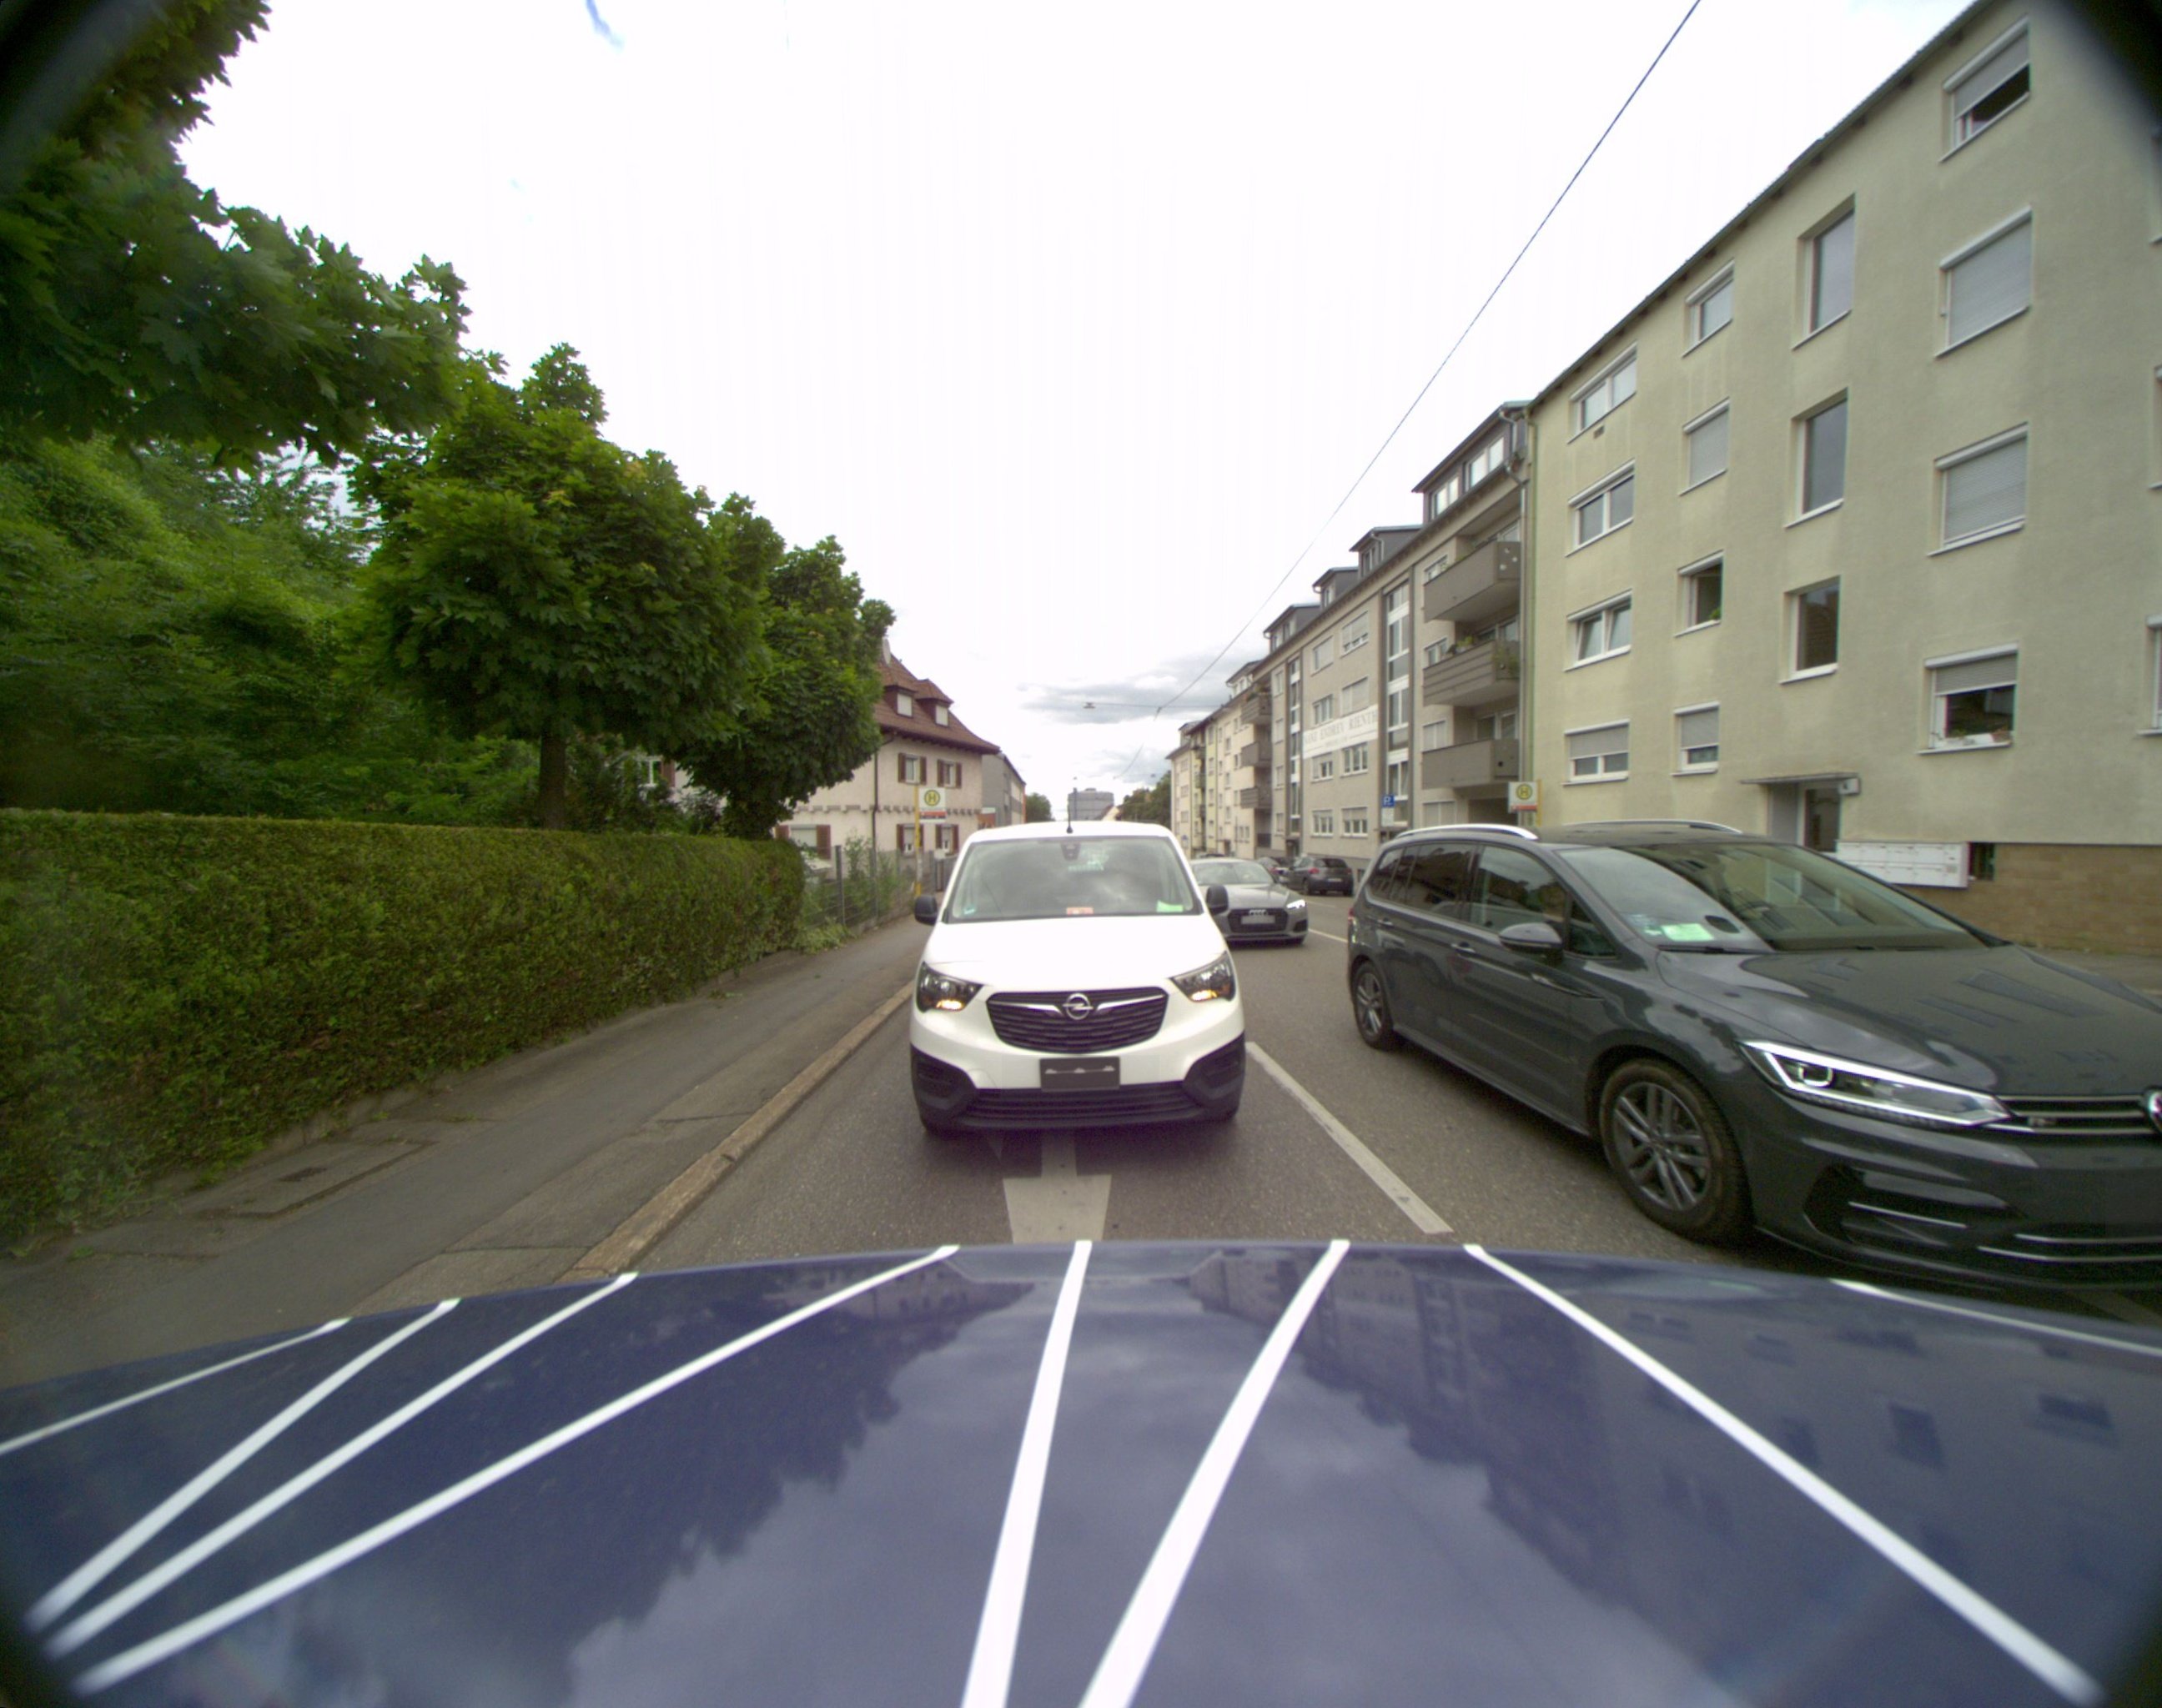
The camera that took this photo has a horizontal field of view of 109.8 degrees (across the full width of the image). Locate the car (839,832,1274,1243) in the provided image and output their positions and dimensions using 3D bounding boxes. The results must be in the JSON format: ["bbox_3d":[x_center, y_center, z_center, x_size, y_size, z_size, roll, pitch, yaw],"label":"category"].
[{"bbox_3d":[-0.074,0.793,5.722,1.862,1.772,4.711,-2,1,1],"label":"car"}]

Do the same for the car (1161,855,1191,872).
[{"bbox_3d":[8.142,0.816,65.480,1.776,1.395,3.757,1,1,-5],"label":"car"}]

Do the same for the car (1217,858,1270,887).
[{"bbox_3d":[8.400,0.915,39.536,1.776,1.395,3.538,1,1,-5],"label":"car"}]

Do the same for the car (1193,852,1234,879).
[{"bbox_3d":[8.447,0.720,48.667,1.776,1.591,3.538,1,1,-5],"label":"car"}]

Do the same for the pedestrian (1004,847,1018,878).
[{"bbox_3d":[-4.198,0.527,45.504,0.646,1.830,0.593,-1,1,19],"label":"pedestrian"}]

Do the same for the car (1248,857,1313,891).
[{"bbox_3d":[8.739,0.846,33.506,1.669,1.368,3.538,1,1,-5],"label":"car"}]

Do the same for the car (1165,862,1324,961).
[{"bbox_3d":[2.602,0.863,13.113,1.882,1.347,4.146,-1,0,1],"label":"car"}]

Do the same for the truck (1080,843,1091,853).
[{"bbox_3d":[1.083,-1.600,195.151,2.547,2.522,5.493,-1,0,-2],"label":"truck"}]

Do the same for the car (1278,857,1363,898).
[{"bbox_3d":[8.910,0.837,28.557,1.776,1.403,3.685,1,1,-5],"label":"car"}]

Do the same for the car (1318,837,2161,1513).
[{"bbox_3d":[3.009,0.758,4.120,1.863,1.601,4.478,-2,1,-2],"label":"car"}]
